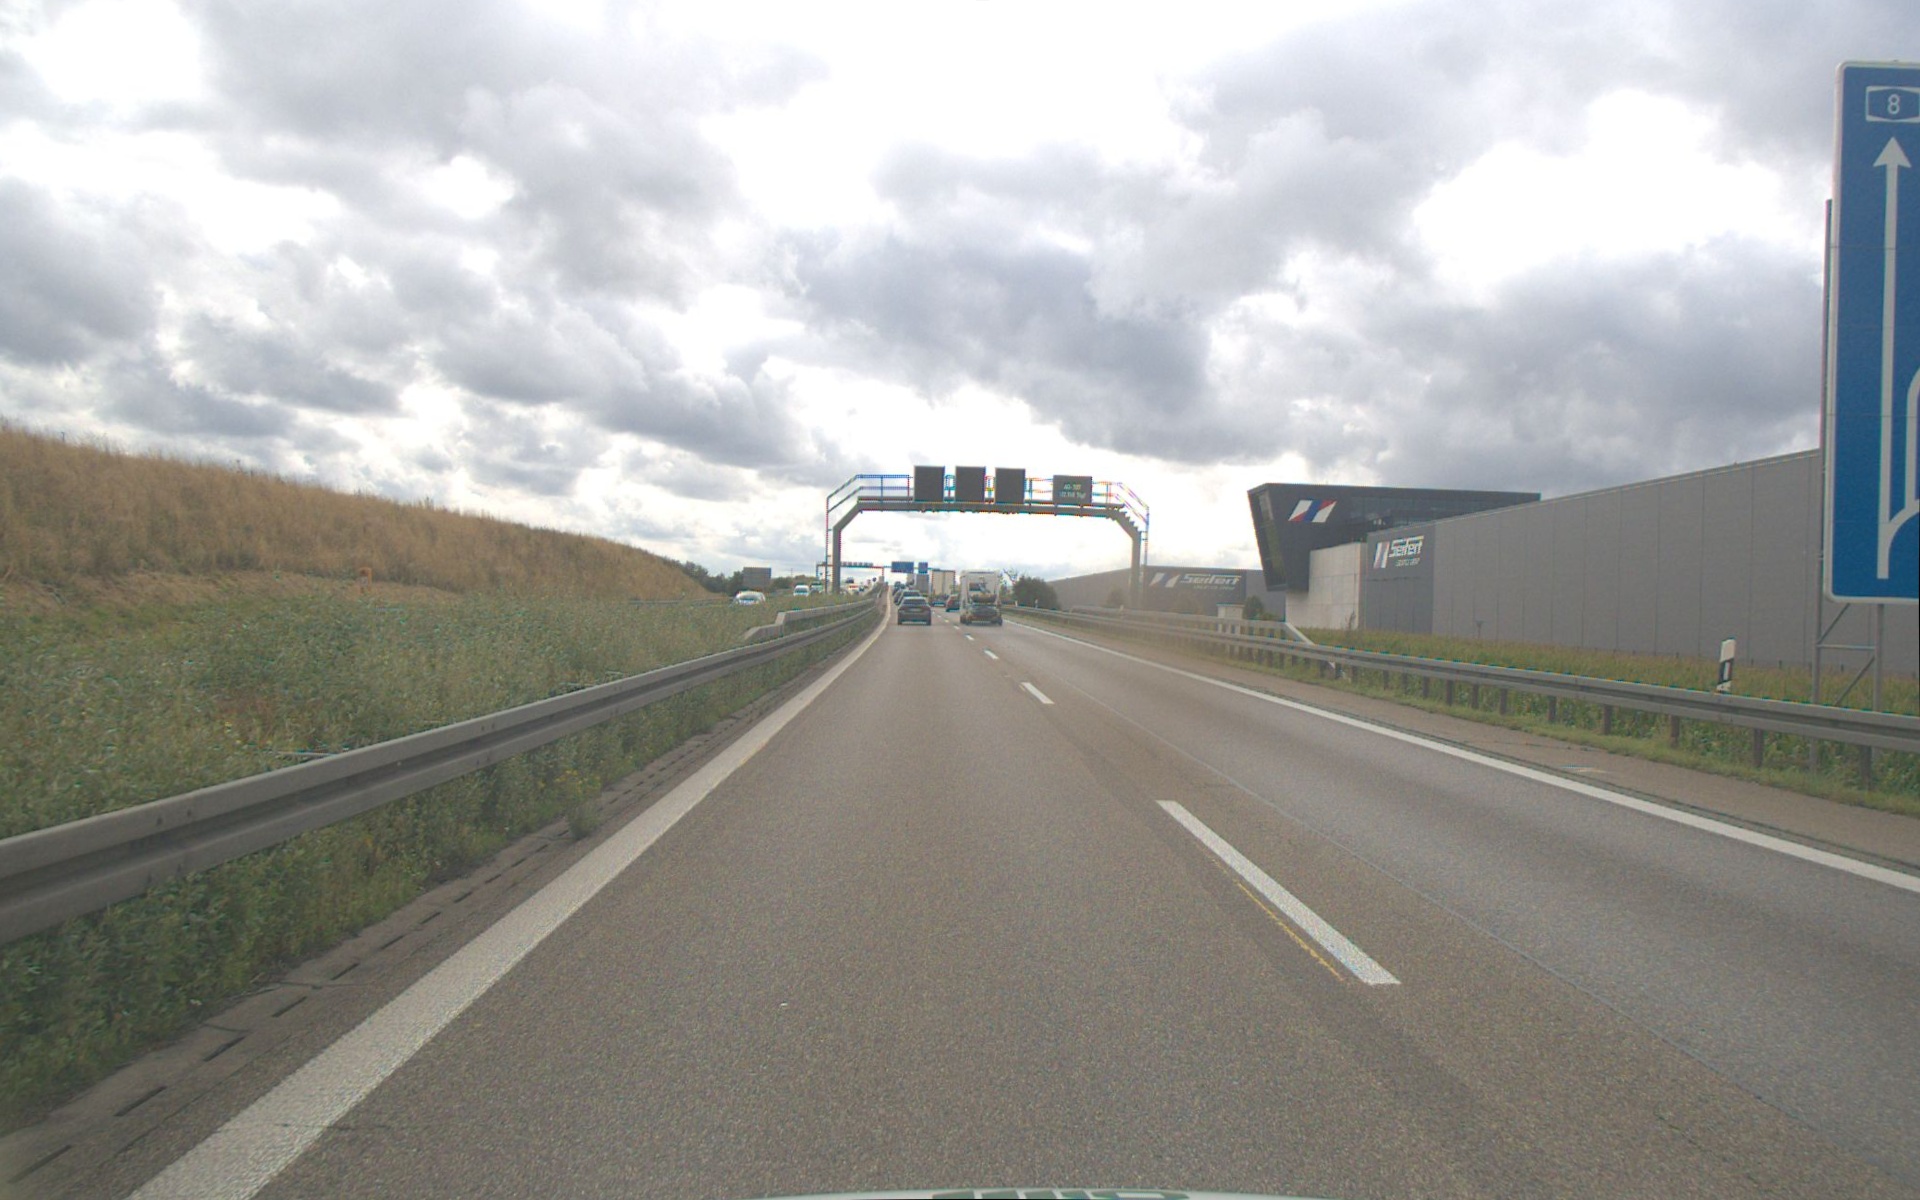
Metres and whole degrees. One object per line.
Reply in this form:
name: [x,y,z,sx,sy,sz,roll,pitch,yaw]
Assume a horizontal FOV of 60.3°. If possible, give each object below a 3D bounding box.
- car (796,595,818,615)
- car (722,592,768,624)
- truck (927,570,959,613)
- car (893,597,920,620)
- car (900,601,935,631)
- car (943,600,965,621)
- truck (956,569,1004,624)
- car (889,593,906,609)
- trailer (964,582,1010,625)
car: [-16.298,0.565,176.134,1.953,2.049,4.706,1,0,-2]
car: [-10.931,0.400,84.220,1.831,1.548,3.999,1,0,-1]
truck: [-1.956,-0.871,185.118,3.272,4.613,8.013,2,-1,-2]
car: [-4.161,0.675,128.045,1.906,1.714,4.000,2,-1,0]
car: [-2.207,0.834,86.939,1.710,1.478,4.000,2,-1,0]
car: [-0.500,0.868,141.286,1.764,1.714,3.999,2,-1,0]
truck: [1.107,-0.184,94.510,2.432,3.002,5.812,2,-1,-2]
car: [-7.574,0.131,201.489,1.903,1.806,3.696,2,-1,0]
trailer: [1.409,0.187,87.304,2.290,2.174,4.000,2,-1,0]
